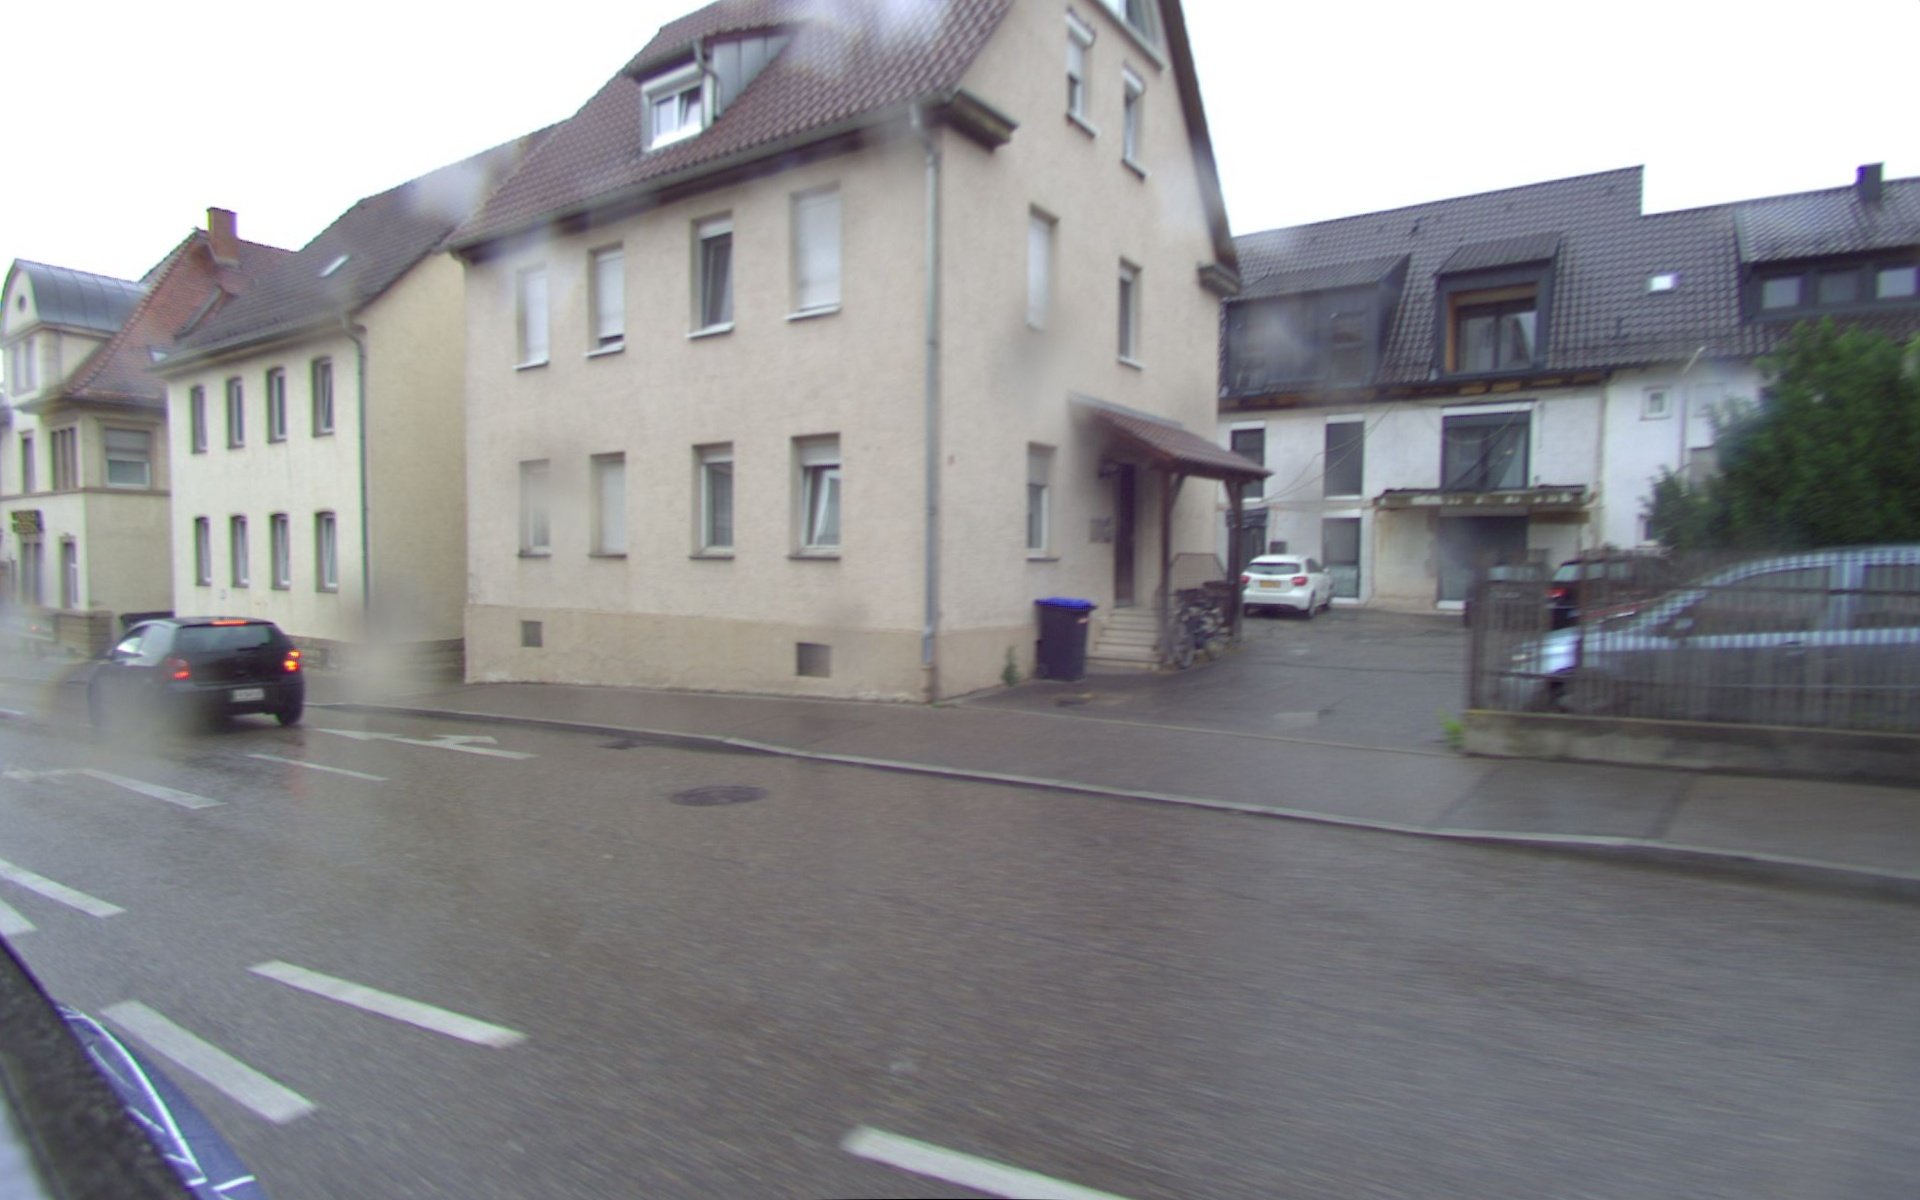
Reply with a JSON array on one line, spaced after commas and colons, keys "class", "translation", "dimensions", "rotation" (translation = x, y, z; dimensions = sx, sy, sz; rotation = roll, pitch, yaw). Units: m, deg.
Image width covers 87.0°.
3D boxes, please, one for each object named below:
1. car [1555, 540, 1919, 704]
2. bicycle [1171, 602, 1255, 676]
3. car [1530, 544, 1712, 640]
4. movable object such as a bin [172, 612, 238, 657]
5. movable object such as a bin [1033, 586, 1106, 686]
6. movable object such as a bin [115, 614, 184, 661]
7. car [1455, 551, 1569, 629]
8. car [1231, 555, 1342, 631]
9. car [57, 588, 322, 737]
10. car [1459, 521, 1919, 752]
[{"class": "car", "translation": [8.064, 0.175, 9.758], "dimensions": [3.874, 1.377, 1.756], "rotation": [-2, 2, 35]}, {"class": "bicycle", "translation": [3.761, 0.547, 14.935], "dimensions": [0.579, 1.005, 1.940], "rotation": [-1, 0, 34]}, {"class": "car", "translation": [11.824, -0.181, 18.037], "dimensions": [3.521, 1.477, 1.847], "rotation": [-4, 2, -42]}, {"class": "movable object such as a bin", "translation": [-22.834, 1.037, 30.619], "dimensions": [1.047, 1.275, 1.269], "rotation": [-2, 1, 33]}, {"class": "movable object such as a bin", "translation": [1.444, 0.455, 13.283], "dimensions": [0.648, 1.256, 0.749], "rotation": [-1, 0, 35]}, {"class": "movable object such as a bin", "translation": [-23.715, 1.089, 29.620], "dimensions": [1.047, 1.275, 1.269], "rotation": [-2, 1, 33]}, {"class": "car", "translation": [11.938, -0.255, 21.787], "dimensions": [1.839, 1.477, 3.535], "rotation": [-2, 2, 34]}, {"class": "car", "translation": [8.009, -0.201, 24.671], "dimensions": [1.760, 1.612, 3.224], "rotation": [-1, 3, 33]}, {"class": "car", "translation": [-10.311, 0.746, 13.468], "dimensions": [3.806, 1.583, 1.730], "rotation": [-1, 4, 37]}, {"class": "car", "translation": [6.181, 0.218, 7.836], "dimensions": [3.876, 1.514, 1.755], "rotation": [-2, 2, 37]}]
